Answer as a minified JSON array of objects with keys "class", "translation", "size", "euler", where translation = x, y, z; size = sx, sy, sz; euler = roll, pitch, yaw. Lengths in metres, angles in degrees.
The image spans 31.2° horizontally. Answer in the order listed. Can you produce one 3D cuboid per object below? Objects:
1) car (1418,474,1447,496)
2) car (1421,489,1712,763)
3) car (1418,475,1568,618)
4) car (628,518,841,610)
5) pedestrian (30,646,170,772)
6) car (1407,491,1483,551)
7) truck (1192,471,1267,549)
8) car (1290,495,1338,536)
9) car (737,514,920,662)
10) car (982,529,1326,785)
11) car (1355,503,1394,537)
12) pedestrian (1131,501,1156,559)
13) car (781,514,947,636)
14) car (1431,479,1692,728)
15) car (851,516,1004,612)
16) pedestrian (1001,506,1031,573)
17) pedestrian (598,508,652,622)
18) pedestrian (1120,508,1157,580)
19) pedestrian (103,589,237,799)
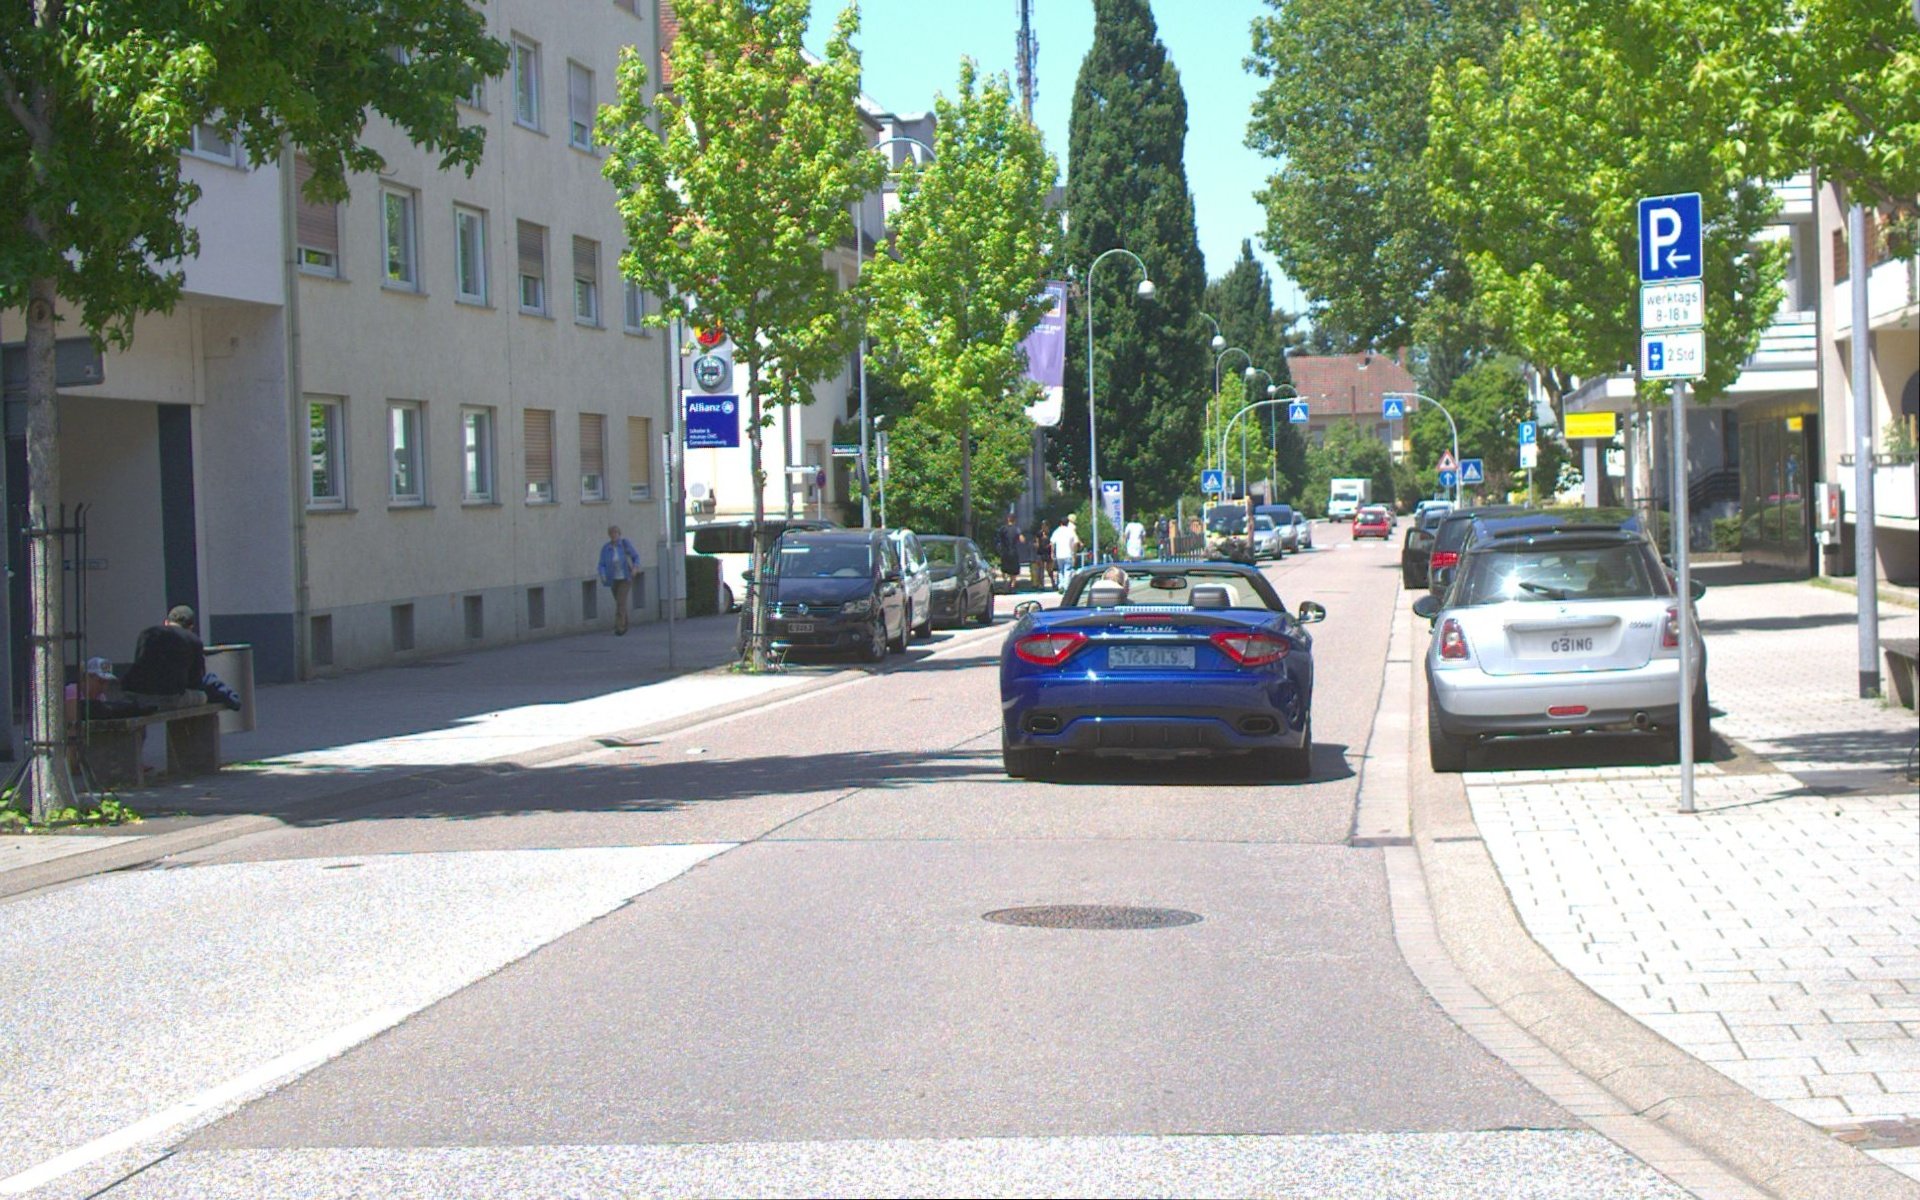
[{"class":"car","translation":[34.362,-8.388,249.918],"size":[1.951,1.471,4.136],"euler":[-3,2,9]},{"class":"car","translation":[3.820,0.103,22.144],"size":[1.623,1.553,3.839],"euler":[-2,1,8]},{"class":"car","translation":[7.837,-0.830,50.408],"size":[1.994,1.792,4.568],"euler":[-3,3,10]},{"class":"car","translation":[-4.553,-0.745,69.774],"size":[4.060,1.816,1.760],"euler":[0,2,6]},{"class":"pedestrian","translation":[-6.058,0.767,24.231],"size":[0.665,0.855,0.732],"euler":[-2,-2,17]},{"class":"car","translation":[13.618,-2.247,96.595],"size":[1.977,1.445,4.348],"euler":[-3,2,8]},{"class":"truck","translation":[7.919,-2.650,100.659],"size":[1.805,2.110,4.714],"euler":[-3,2,8]},{"class":"car","translation":[14.266,-3.415,138.553],"size":[1.770,1.471,4.137],"euler":[-3,2,7]},{"class":"car","translation":[-1.643,-0.202,44.448],"size":[1.729,1.734,4.392],"euler":[1,2,6]},{"class":"car","translation":[1.278,0.282,22.295],"size":[1.976,1.393,4.627],"euler":[1,2,4]},{"class":"car","translation":[19.257,-3.719,159.681],"size":[1.770,1.471,4.136],"euler":[-1,1,7]},{"class":"pedestrian","translation":[5.055,-1.932,94.732],"size":[0.587,1.569,0.781],"euler":[-2,2,7]},{"class":"car","translation":[-1.349,-0.398,50.112],"size":[1.824,1.614,4.392],"euler":[0,2,6]},{"class":"car","translation":[4.629,-0.042,26.981],"size":[1.764,1.700,4.704],"euler":[-3,1,8]},{"class":"car","translation":[-0.489,-0.622,56.251],"size":[1.755,1.469,4.320],"euler":[0,2,10]},{"class":"pedestrian","translation":[1.233,-1.343,75.956],"size":[0.579,1.469,0.564],"euler":[-2,1,5]},{"class":"pedestrian","translation":[-5.142,-0.540,52.756],"size":[0.655,1.674,0.631],"euler":[-4,4,-10]},{"class":"pedestrian","translation":[4.919,-1.540,94.713],"size":[0.849,1.909,0.761],"euler":[-3,4,7]},{"class":"pedestrian","translation":[-5.344,0.629,23.287],"size":[0.568,1.367,0.666],"euler":[-2,1,17]}]
